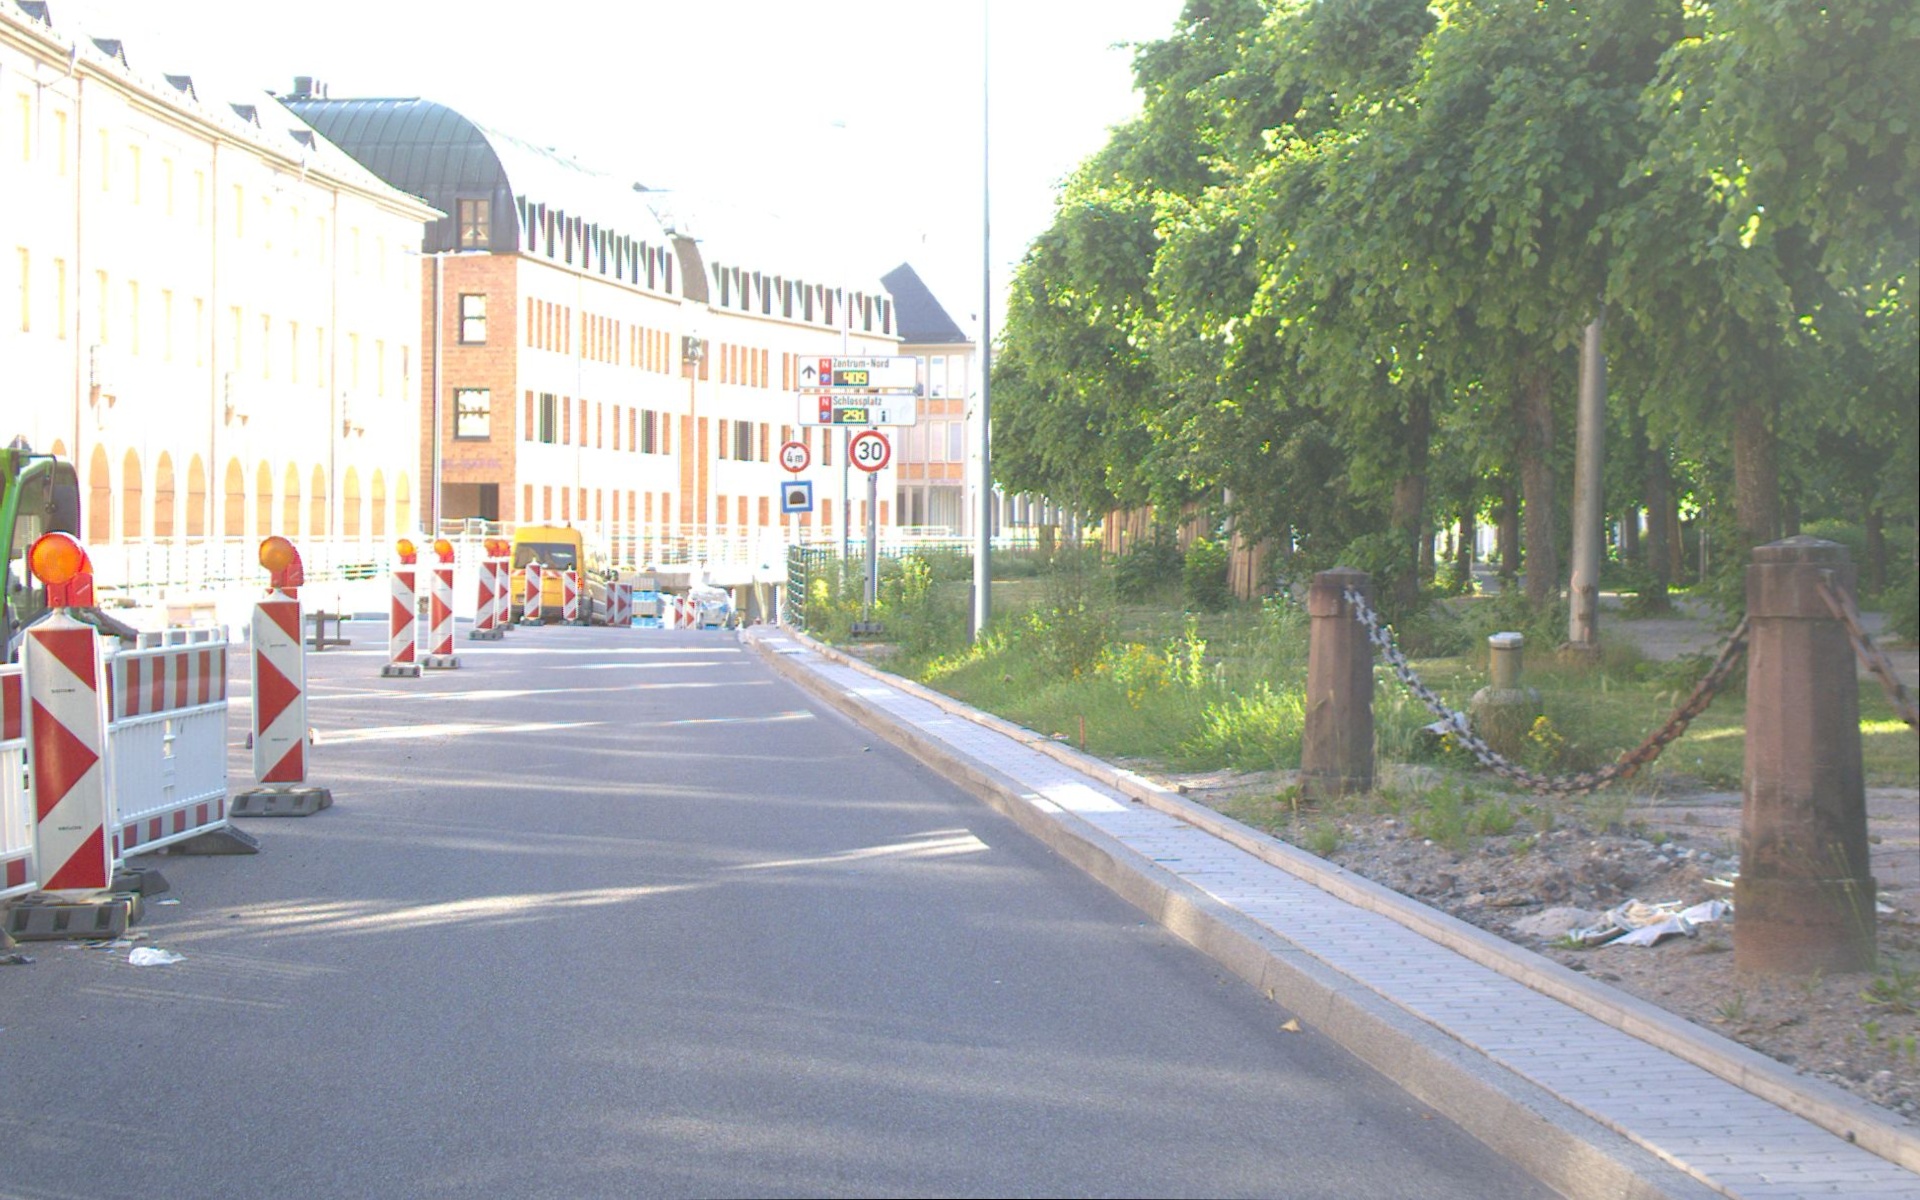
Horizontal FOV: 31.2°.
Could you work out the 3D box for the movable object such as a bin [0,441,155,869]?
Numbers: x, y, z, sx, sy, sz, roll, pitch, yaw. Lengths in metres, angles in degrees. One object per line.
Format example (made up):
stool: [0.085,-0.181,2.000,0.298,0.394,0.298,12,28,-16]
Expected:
movable object such as a bin: [-5.404,0.196,16.721,2.050,1.942,4.335,1,2,-1]

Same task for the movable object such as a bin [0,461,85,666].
movable object such as a bin: [-12.660,-0.537,43.723,2.074,2.466,4.618,1,2,-3]

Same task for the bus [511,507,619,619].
bus: [-9.972,-0.902,87.030,2.073,2.677,4.683,1,-1,1]
